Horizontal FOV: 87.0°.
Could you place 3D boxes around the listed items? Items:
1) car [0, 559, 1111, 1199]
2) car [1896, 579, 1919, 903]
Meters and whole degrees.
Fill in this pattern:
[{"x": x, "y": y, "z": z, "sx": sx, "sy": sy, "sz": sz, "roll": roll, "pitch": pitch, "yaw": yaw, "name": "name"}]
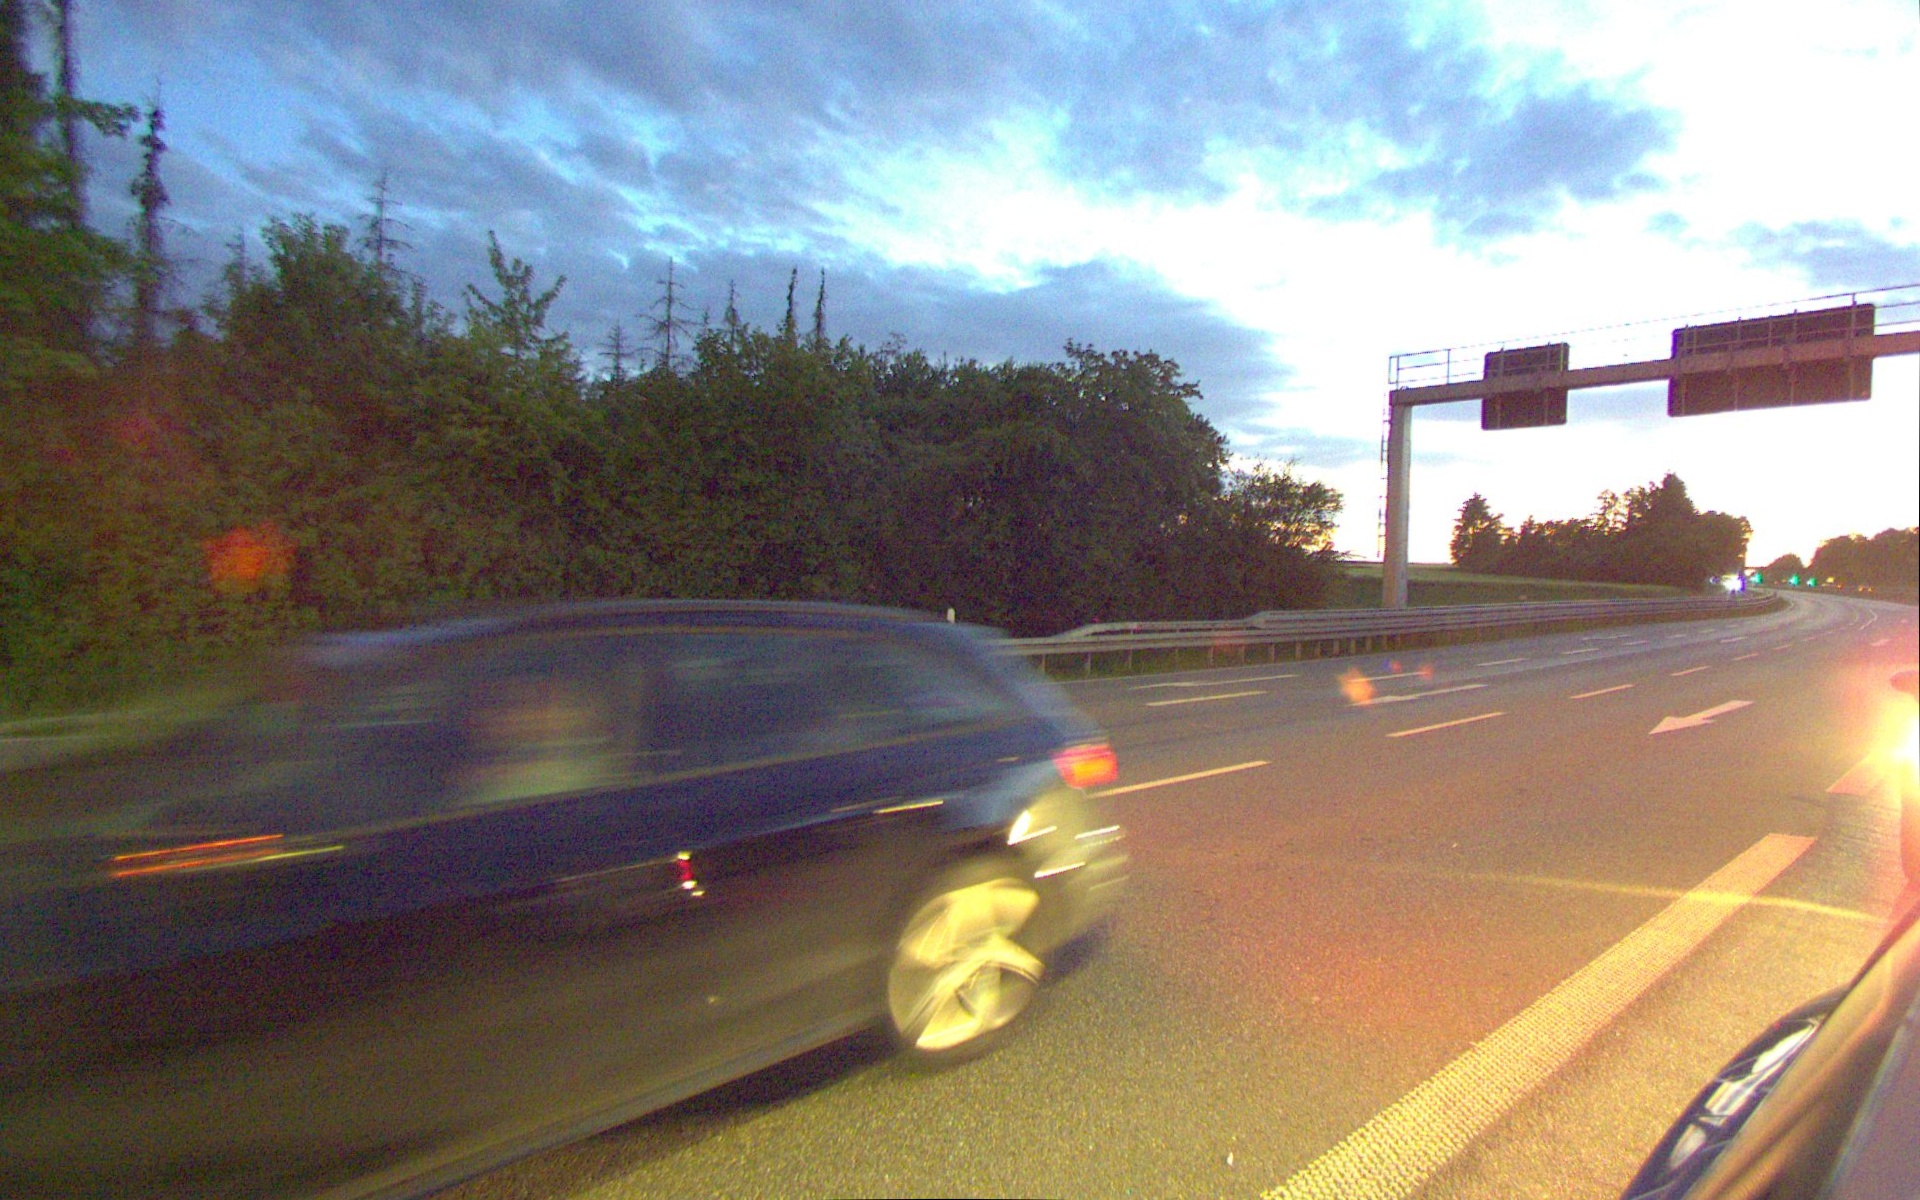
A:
[{"x": -1.630, "y": 0.663, "z": 2.712, "sx": 1.790, "sy": 1.462, "sz": 4.462, "roll": 0, "pitch": 0, "yaw": 44, "name": "car"}, {"x": 6.361, "y": 0.653, "z": 5.245, "sx": 3.707, "sy": 1.499, "sz": 1.670, "roll": 0, "pitch": 1, "yaw": -38, "name": "car"}]
